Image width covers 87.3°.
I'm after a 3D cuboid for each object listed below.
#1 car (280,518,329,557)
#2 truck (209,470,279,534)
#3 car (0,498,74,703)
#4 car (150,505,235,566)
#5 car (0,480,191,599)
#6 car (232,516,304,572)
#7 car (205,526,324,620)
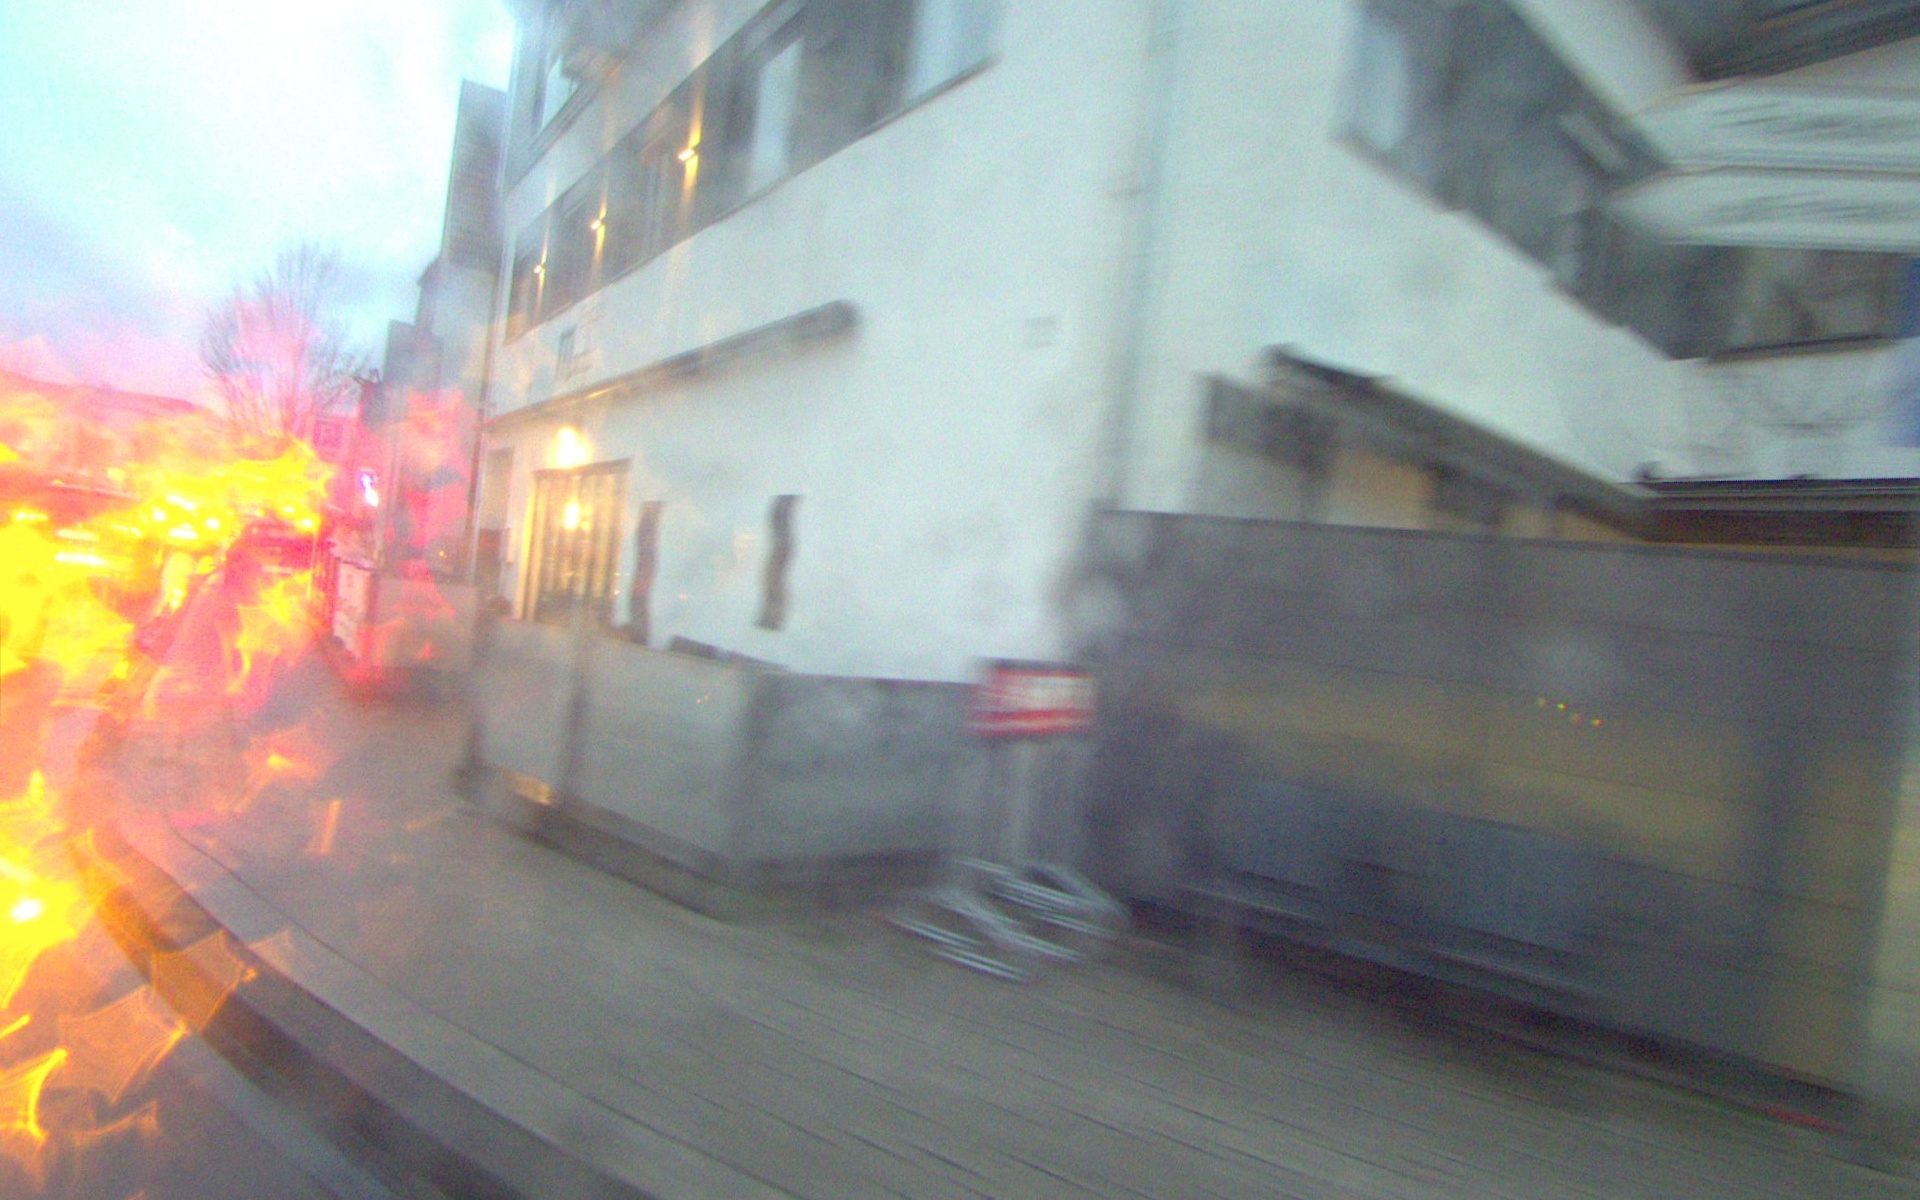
[{"bbox_3d":[-29.985,-2.887,46.066,1.680,1.485,3.685,8,0,-33],"label":"car"},{"bbox_3d":[-40.848,-5.548,57.542,2.697,3.047,5.938,8,0,-33],"label":"truck"},{"bbox_3d":[-8.633,-0.180,8.192,1.702,1.439,3.970,9,-1,-37],"label":"car"},{"bbox_3d":[-25.097,-2.129,33.007,1.710,1.652,3.965,8,0,-32],"label":"car"},{"bbox_3d":[-15.126,-1.089,17.816,1.903,1.635,3.915,8,0,-32],"label":"car"},{"bbox_3d":[-22.774,-1.889,33.207,1.680,1.485,3.685,8,0,-33],"label":"car"},{"bbox_3d":[-14.752,-0.630,21.512,1.799,1.590,3.815,8,0,-33],"label":"car"}]
